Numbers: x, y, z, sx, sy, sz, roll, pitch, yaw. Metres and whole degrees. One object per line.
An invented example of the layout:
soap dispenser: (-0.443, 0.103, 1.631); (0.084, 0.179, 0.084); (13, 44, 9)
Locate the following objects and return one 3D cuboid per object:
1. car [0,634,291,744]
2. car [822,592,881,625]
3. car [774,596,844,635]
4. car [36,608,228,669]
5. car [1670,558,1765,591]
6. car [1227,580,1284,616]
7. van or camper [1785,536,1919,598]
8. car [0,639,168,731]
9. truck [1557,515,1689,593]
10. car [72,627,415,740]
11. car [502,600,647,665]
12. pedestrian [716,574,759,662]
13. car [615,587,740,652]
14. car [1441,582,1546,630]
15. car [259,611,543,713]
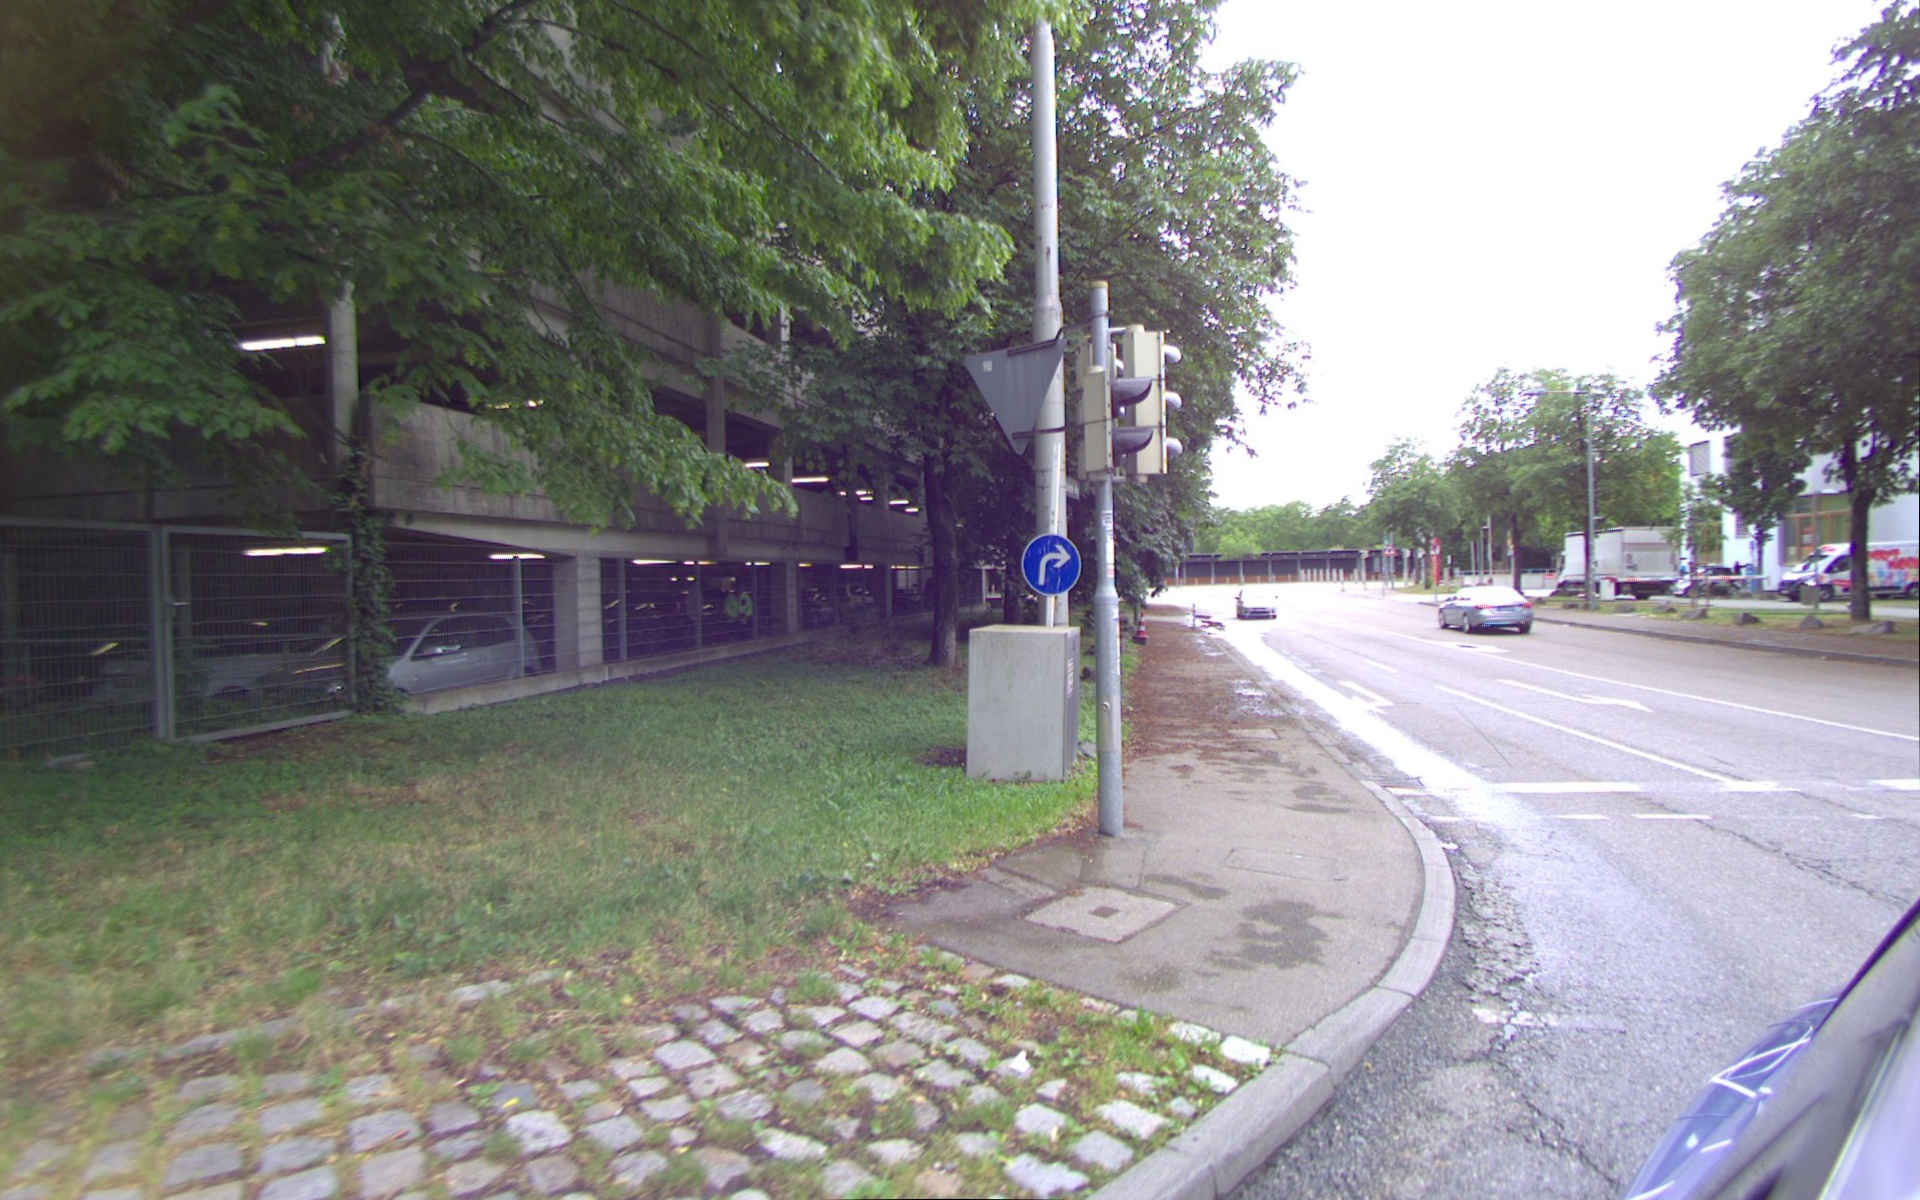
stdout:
car: (-11.519, 1.132, 14.052); (1.598, 1.177, 3.626); (-1, 0, 13)
car: (-4.727, 0.354, 44.611); (1.499, 1.343, 3.763); (-1, 1, 12)
car: (-5.924, 0.583, 40.080); (1.499, 1.381, 3.763); (-1, 1, 12)
car: (-23.455, 1.035, 28.885); (1.797, 1.507, 4.060); (-1, 1, 11)
car: (40.075, -1.326, 53.633); (3.648, 1.668, 1.648); (-1, 0, 15)
car: (13.682, -0.123, 47.068); (1.824, 1.497, 4.501); (-2, 1, 8)
van or camper: (38.729, -1.397, 42.994); (5.185, 2.456, 2.251); (-2, 0, 11)
car: (-13.928, 1.236, 14.699); (1.598, 1.177, 3.626); (-1, 0, 13)
truck: (33.909, -2.263, 52.159); (2.606, 3.661, 7.820); (1, 1, 9)
car: (-9.363, 1.022, 13.594); (1.598, 1.177, 3.626); (-1, 0, 13)
car: (-9.288, 0.734, 24.704); (1.499, 1.381, 3.763); (-1, 1, 12)
pedestrian: (-4.540, 0.351, 20.684); (0.608, 1.721, 0.608); (3, 2, 11)
car: (-8.296, 0.524, 30.094); (1.968, 1.749, 3.987); (-3, 0, 11)
car: (16.807, 0.167, 32.084); (1.675, 1.415, 4.357); (0, 0, 10)
car: (-7.110, 0.728, 13.230); (1.515, 1.101, 3.243); (-1, 0, 12)
